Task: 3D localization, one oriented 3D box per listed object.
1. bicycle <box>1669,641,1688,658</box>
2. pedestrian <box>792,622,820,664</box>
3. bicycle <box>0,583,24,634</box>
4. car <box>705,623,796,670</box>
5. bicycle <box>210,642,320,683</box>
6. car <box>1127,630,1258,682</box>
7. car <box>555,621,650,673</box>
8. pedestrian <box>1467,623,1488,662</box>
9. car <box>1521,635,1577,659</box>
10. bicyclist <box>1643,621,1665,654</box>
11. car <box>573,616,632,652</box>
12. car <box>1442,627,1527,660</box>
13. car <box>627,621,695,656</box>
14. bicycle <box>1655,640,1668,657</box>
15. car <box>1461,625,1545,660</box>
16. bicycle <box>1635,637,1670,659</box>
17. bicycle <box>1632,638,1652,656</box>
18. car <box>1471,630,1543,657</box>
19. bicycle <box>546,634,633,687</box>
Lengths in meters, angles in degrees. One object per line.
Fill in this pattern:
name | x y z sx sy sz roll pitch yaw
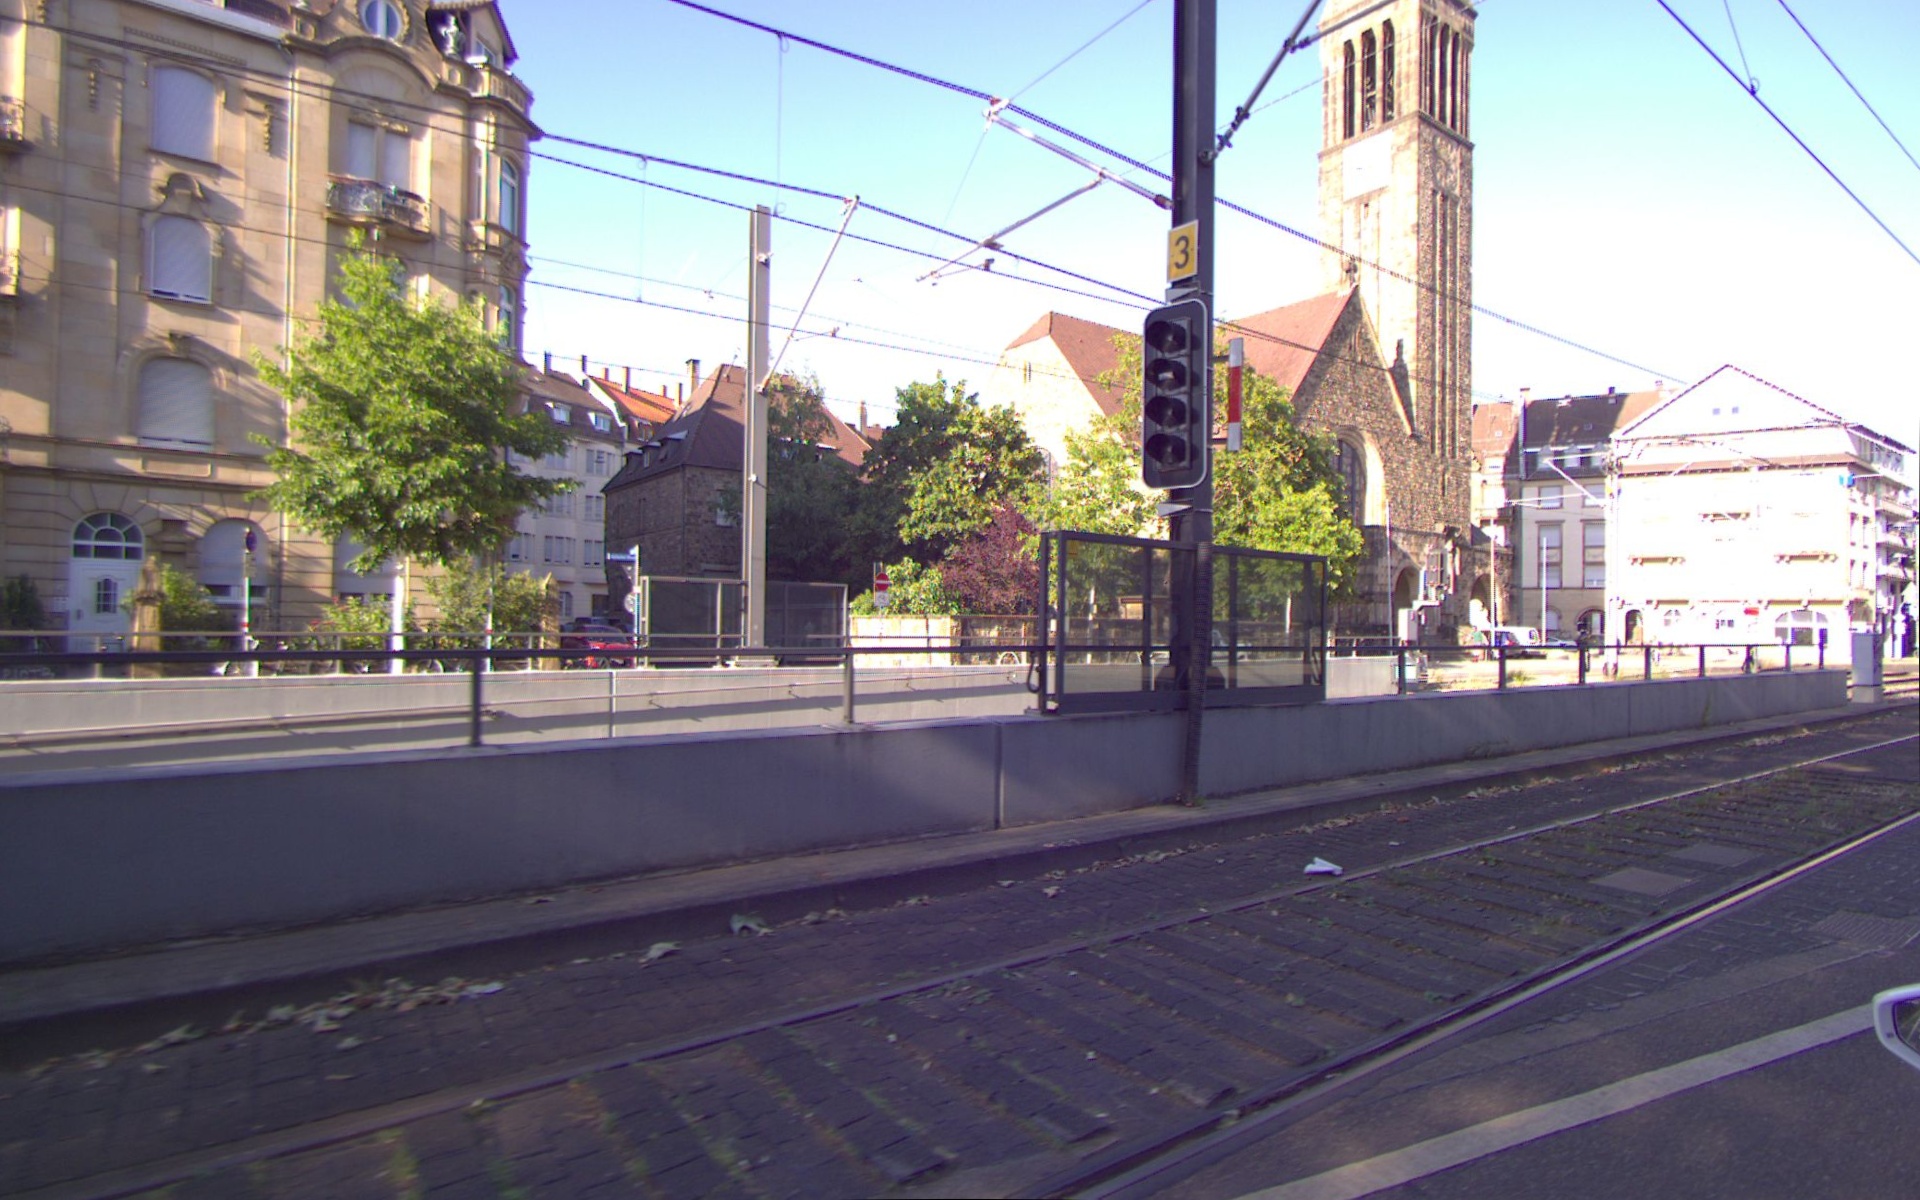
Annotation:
bicycle | 58.700 3.995 82.026 0.813 1.300 2.548 3 1 45
pedestrian | -6.138 1.697 40.060 0.920 1.609 0.744 2 1 -20
bicycle | -20.750 0.149 20.672 2.089 1.032 0.502 2 1 -33
car | -7.936 1.704 37.836 1.803 1.673 3.958 2 -2 -37
bicycle | -14.514 1.304 21.037 1.868 0.811 0.414 2 1 -34
car | 7.860 1.862 33.798 4.465 1.576 1.704 2 1 -35
car | -11.716 1.502 32.800 1.803 1.589 3.958 2 -2 -37
pedestrian | 26.136 2.156 50.741 0.749 1.913 0.601 2 1 -34
car | 50.639 4.012 86.459 1.961 1.776 4.597 2 1 -2
bicyclist | 36.922 2.018 53.429 0.905 1.745 0.629 1 -3 -30
car | -18.941 1.793 53.114 1.803 1.821 3.958 2 -2 -37
car | 30.396 2.489 58.302 1.875 1.651 3.962 2 1 -33
car | -14.203 1.806 47.627 1.803 1.589 3.958 2 -2 -37
bicycle | 57.422 3.939 82.228 0.810 1.300 2.557 3 1 34
car | 32.526 2.516 60.242 1.875 1.780 3.962 2 1 -33
bicycle | 36.752 2.536 53.315 2.252 1.159 0.629 1 -3 -30
bicycle | 56.393 3.886 83.108 0.808 1.300 2.563 3 1 23
car | 43.045 3.420 79.120 4.847 1.776 1.997 3 1 27
bicycle | -8.032 1.294 21.859 0.478 1.036 1.889 3 1 30
